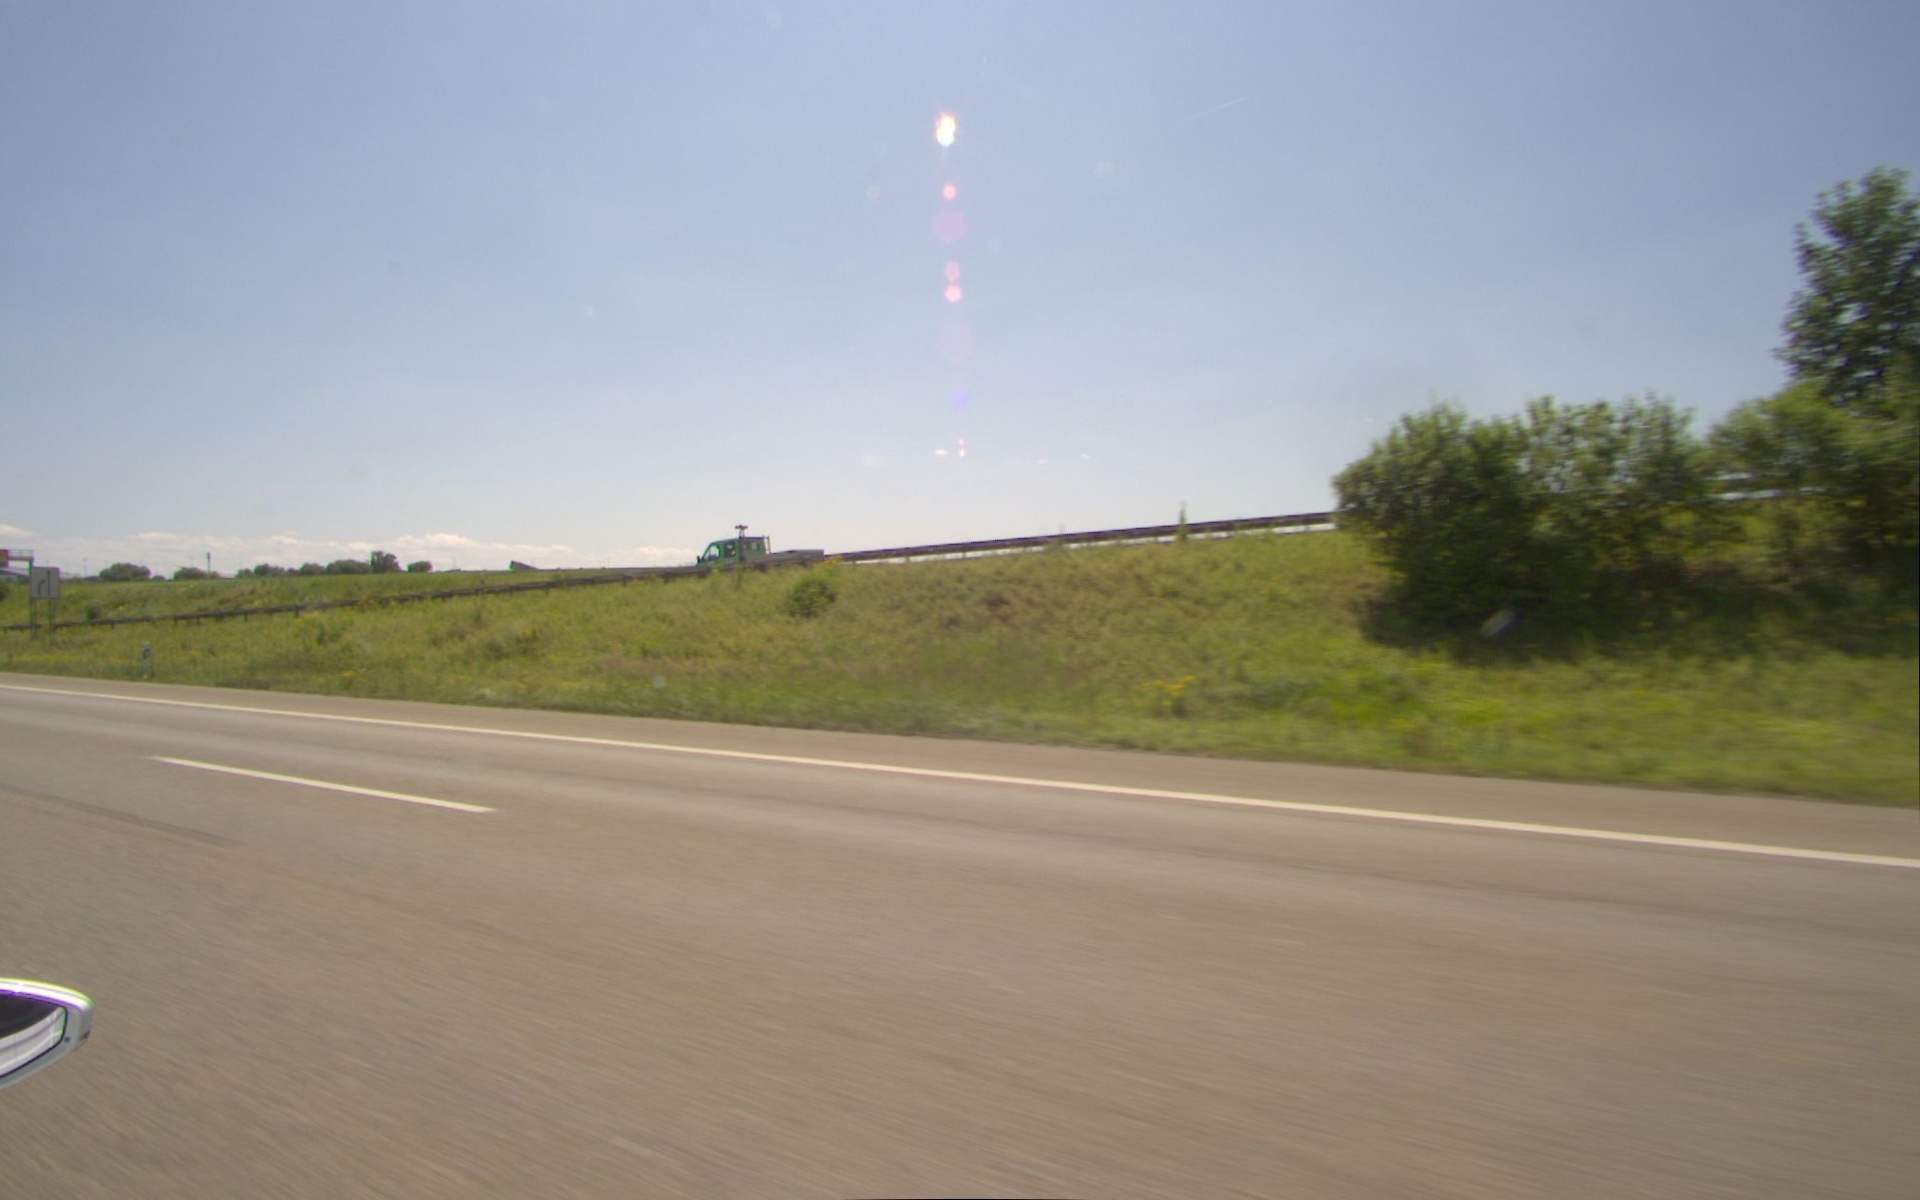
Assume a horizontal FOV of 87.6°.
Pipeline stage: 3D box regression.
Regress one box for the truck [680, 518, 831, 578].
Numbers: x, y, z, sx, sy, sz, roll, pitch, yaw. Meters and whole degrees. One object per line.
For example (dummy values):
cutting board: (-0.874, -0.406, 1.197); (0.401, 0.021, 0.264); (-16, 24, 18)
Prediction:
truck: (-8.378, -2.062, 40.949); (6.021, 2.119, 2.164); (-1, 0, 27)
